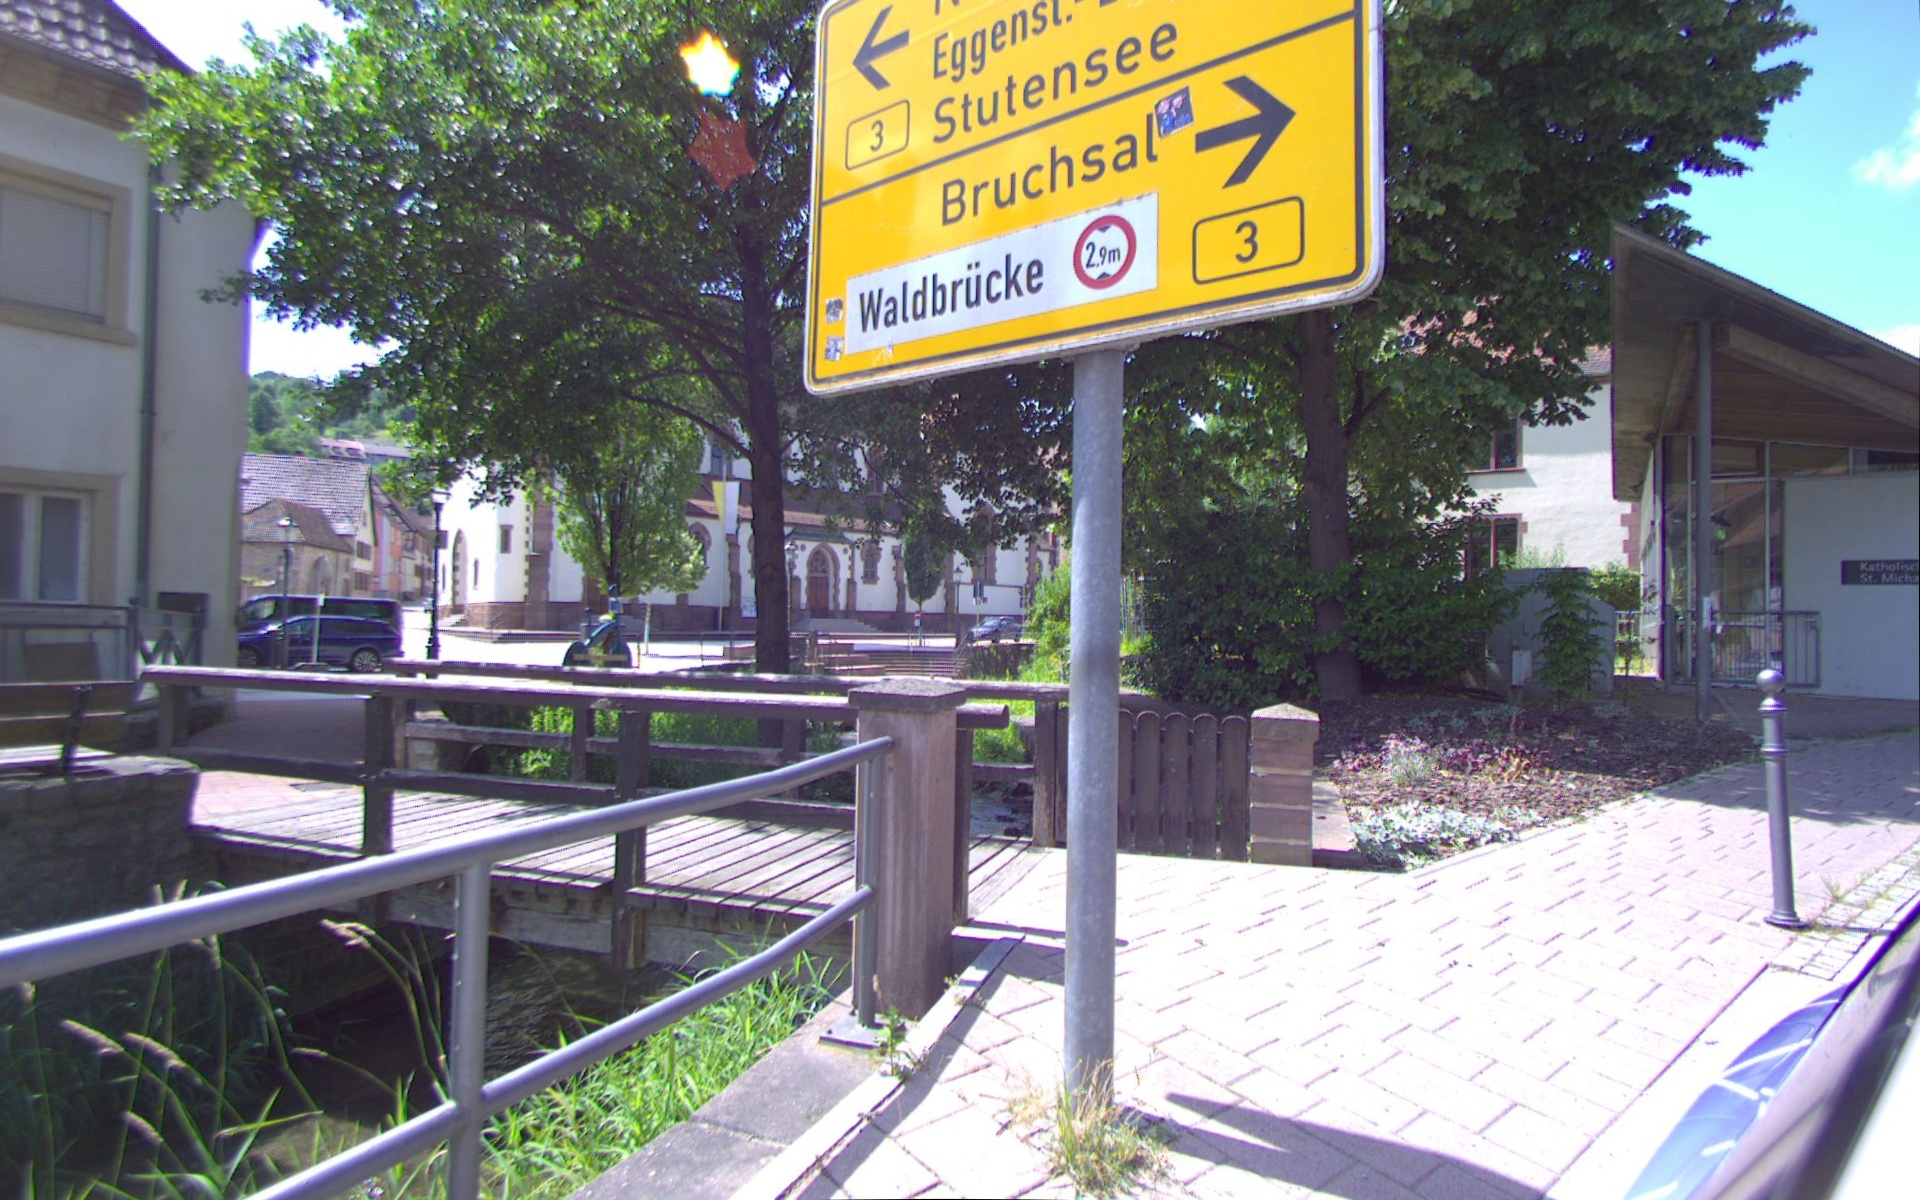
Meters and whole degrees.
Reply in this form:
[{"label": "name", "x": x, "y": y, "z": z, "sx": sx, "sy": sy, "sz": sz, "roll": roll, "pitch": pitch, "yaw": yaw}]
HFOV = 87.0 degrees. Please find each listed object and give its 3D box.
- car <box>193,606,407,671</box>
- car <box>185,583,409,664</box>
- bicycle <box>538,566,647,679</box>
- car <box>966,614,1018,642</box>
[{"label": "car", "x": -17.175, "y": 1.044, "z": 26.474, "sx": 4.460, "sy": 1.501, "sz": 1.587, "roll": 4, "pitch": -2, "yaw": -41}, {"label": "car", "x": -18.771, "y": 0.717, "z": 28.821, "sx": 5.033, "sy": 2.053, "sz": 1.956, "roll": 4, "pitch": -2, "yaw": -41}, {"label": "bicycle", "x": -7.148, "y": 0.435, "z": 19.850, "sx": 0.770, "sy": 2.040, "sz": 2.659, "roll": -3, "pitch": -2, "yaw": 9}, {"label": "car", "x": 1.846, "y": 1.571, "z": 57.421, "sx": 1.653, "sy": 1.524, "sz": 3.778, "roll": -1, "pitch": -1, "yaw": 25}]
